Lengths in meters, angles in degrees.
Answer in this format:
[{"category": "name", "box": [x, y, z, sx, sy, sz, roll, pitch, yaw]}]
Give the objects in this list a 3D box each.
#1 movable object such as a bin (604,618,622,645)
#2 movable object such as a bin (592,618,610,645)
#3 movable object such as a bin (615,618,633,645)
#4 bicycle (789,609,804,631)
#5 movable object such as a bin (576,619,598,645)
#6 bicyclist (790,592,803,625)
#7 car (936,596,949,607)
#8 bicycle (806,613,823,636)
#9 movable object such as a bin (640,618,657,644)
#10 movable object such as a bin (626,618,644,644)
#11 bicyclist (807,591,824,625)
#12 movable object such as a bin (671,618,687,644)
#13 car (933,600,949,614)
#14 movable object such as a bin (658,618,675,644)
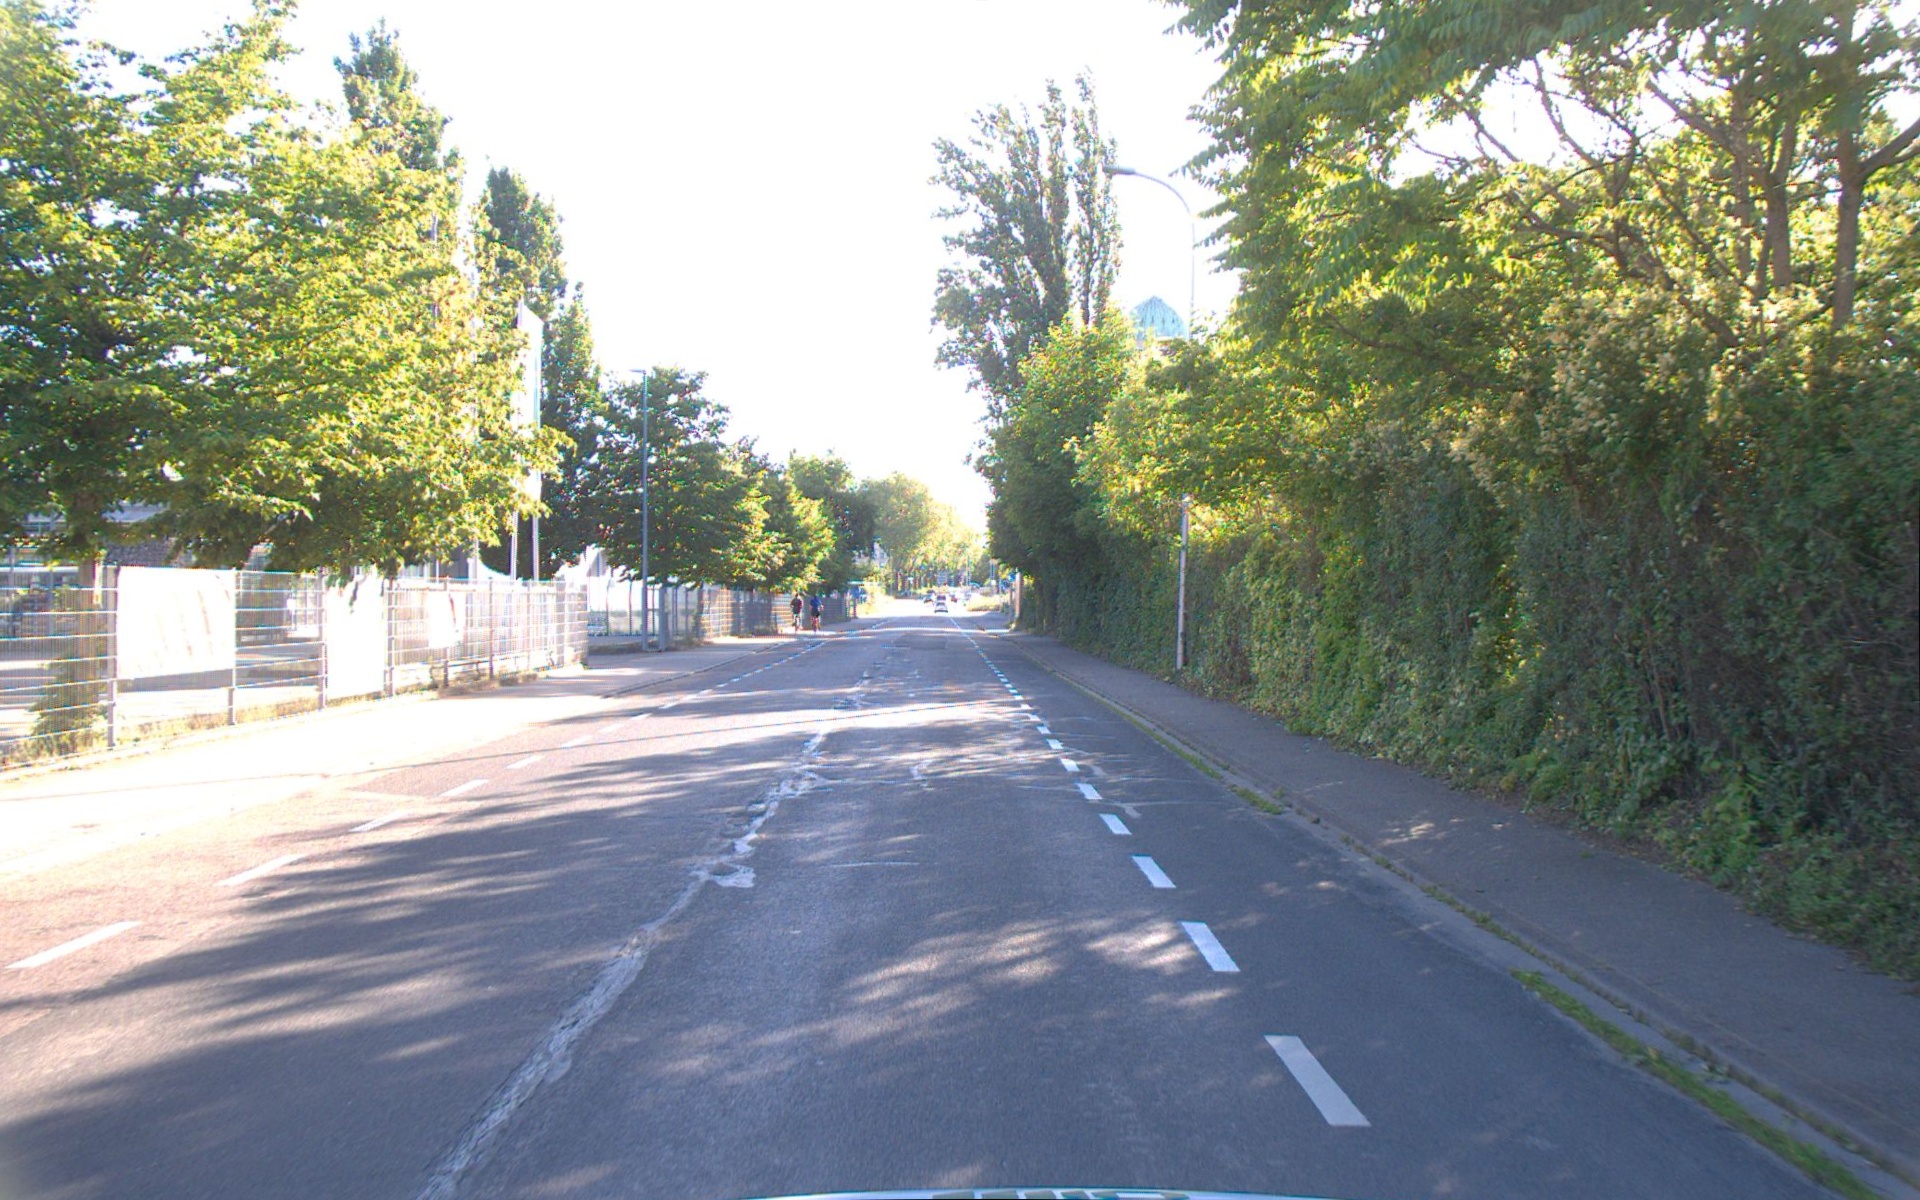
[{"category": "movable object such as a bin", "box": [-14.745, 1.331, 70.273, 0.453, 1.095, 1.569, 0, 0, -1]}, {"category": "movable object such as a bin", "box": [-15.250, 1.336, 70.284, 0.453, 1.095, 1.569, 0, 0, -1]}, {"category": "movable object such as a bin", "box": [-14.263, 1.325, 70.177, 0.453, 1.095, 1.569, 0, 0, -1]}, {"category": "bicycle", "box": [-7.712, 0.938, 77.894, 0.551, 1.052, 1.350, 2, 0, -1]}, {"category": "movable object such as a bin", "box": [-15.821, 1.340, 70.203, 0.606, 1.095, 1.569, 0, 0, -1]}, {"category": "bicyclist", "box": [-7.691, 0.406, 77.820, 0.548, 1.560, 0.689, 2, 0, -1]}, {"category": "car", "box": [-2.606, 0.249, 248.540, 1.903, 1.680, 4.308, 2, 0, -1]}, {"category": "bicycle", "box": [-6.822, 1.142, 77.737, 0.675, 1.052, 1.350, 2, 0, -1]}, {"category": "movable object such as a bin", "box": [-13.198, 1.317, 70.162, 0.453, 1.095, 1.569, 0, 0, -1]}, {"category": "movable object such as a bin", "box": [-13.760, 1.319, 70.088, 0.453, 1.095, 1.569, 0, 0, -1]}, {"category": "bicyclist", "box": [-6.778, 0.370, 77.702, 0.675, 1.559, 0.722, 2, 0, -1]}, {"category": "movable object such as a bin", "box": [-11.944, 1.311, 70.326, 0.453, 1.095, 1.569, 0, 0, -1]}, {"category": "car", "box": [-2.301, 0.853, 204.476, 1.903, 1.680, 4.308, 2, 0, -1]}, {"category": "movable object such as a bin", "box": [-12.476, 1.313, 70.251, 0.453, 1.095, 1.569, 0, 0, -1]}]
